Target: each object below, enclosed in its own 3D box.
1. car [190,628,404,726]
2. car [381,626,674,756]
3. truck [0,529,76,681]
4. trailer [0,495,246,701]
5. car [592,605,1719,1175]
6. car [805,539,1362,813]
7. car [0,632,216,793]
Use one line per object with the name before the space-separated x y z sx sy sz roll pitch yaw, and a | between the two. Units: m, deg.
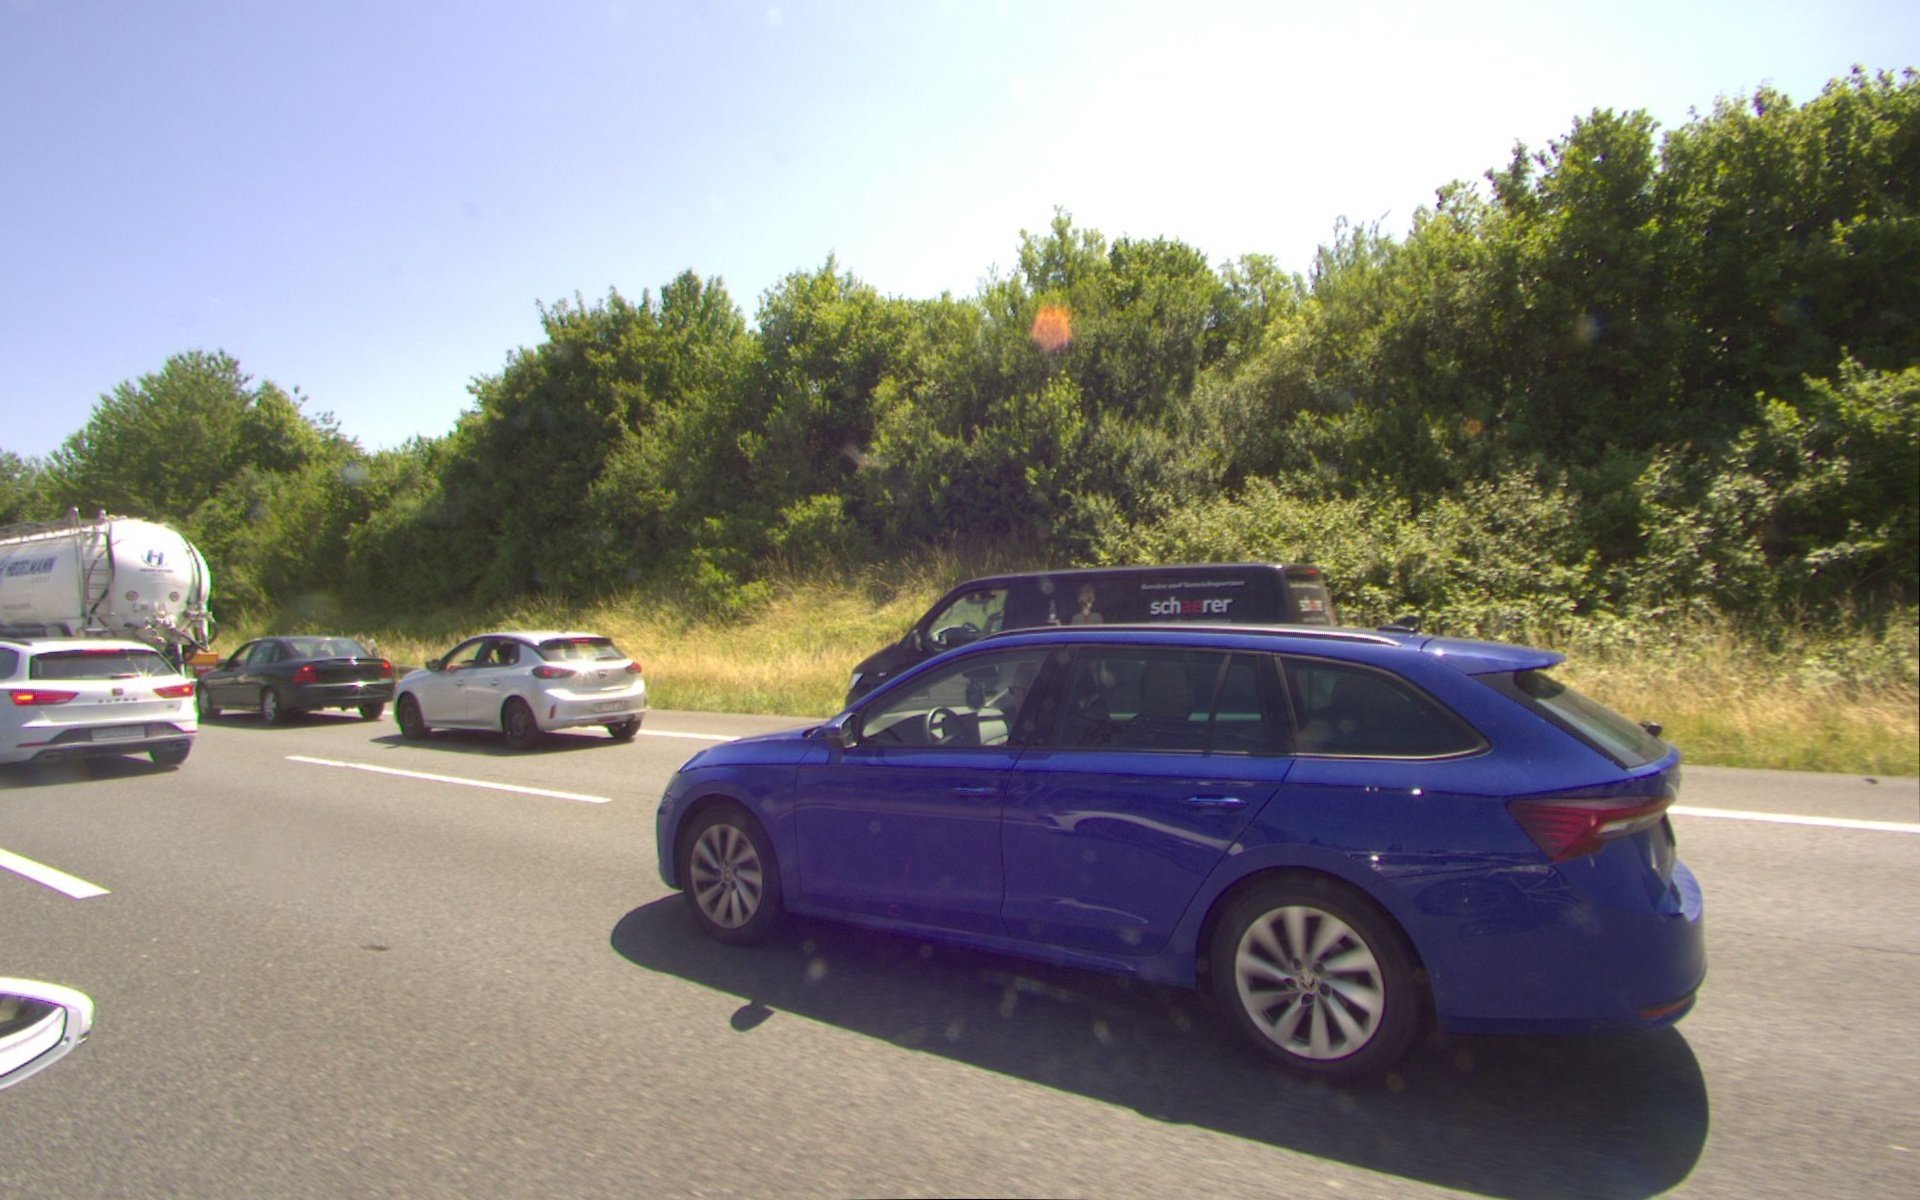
car | -11.329 1.262 17.051 3.935 1.435 1.637 -2 0 34
car | -5.878 1.105 13.494 3.971 1.462 1.727 -1 0 33
truck | -26.855 0.185 27.245 5.494 3.887 2.787 -1 0 33
trailer | -20.681 0.077 23.216 11.325 3.895 2.755 -1 0 33
car | 0.524 0.820 4.553 4.509 1.435 1.772 -2 0 33
car | 0.995 0.624 9.315 4.790 1.965 1.909 -2 -1 34
car | -10.296 1.146 11.295 4.255 1.462 1.743 -2 -1 34
